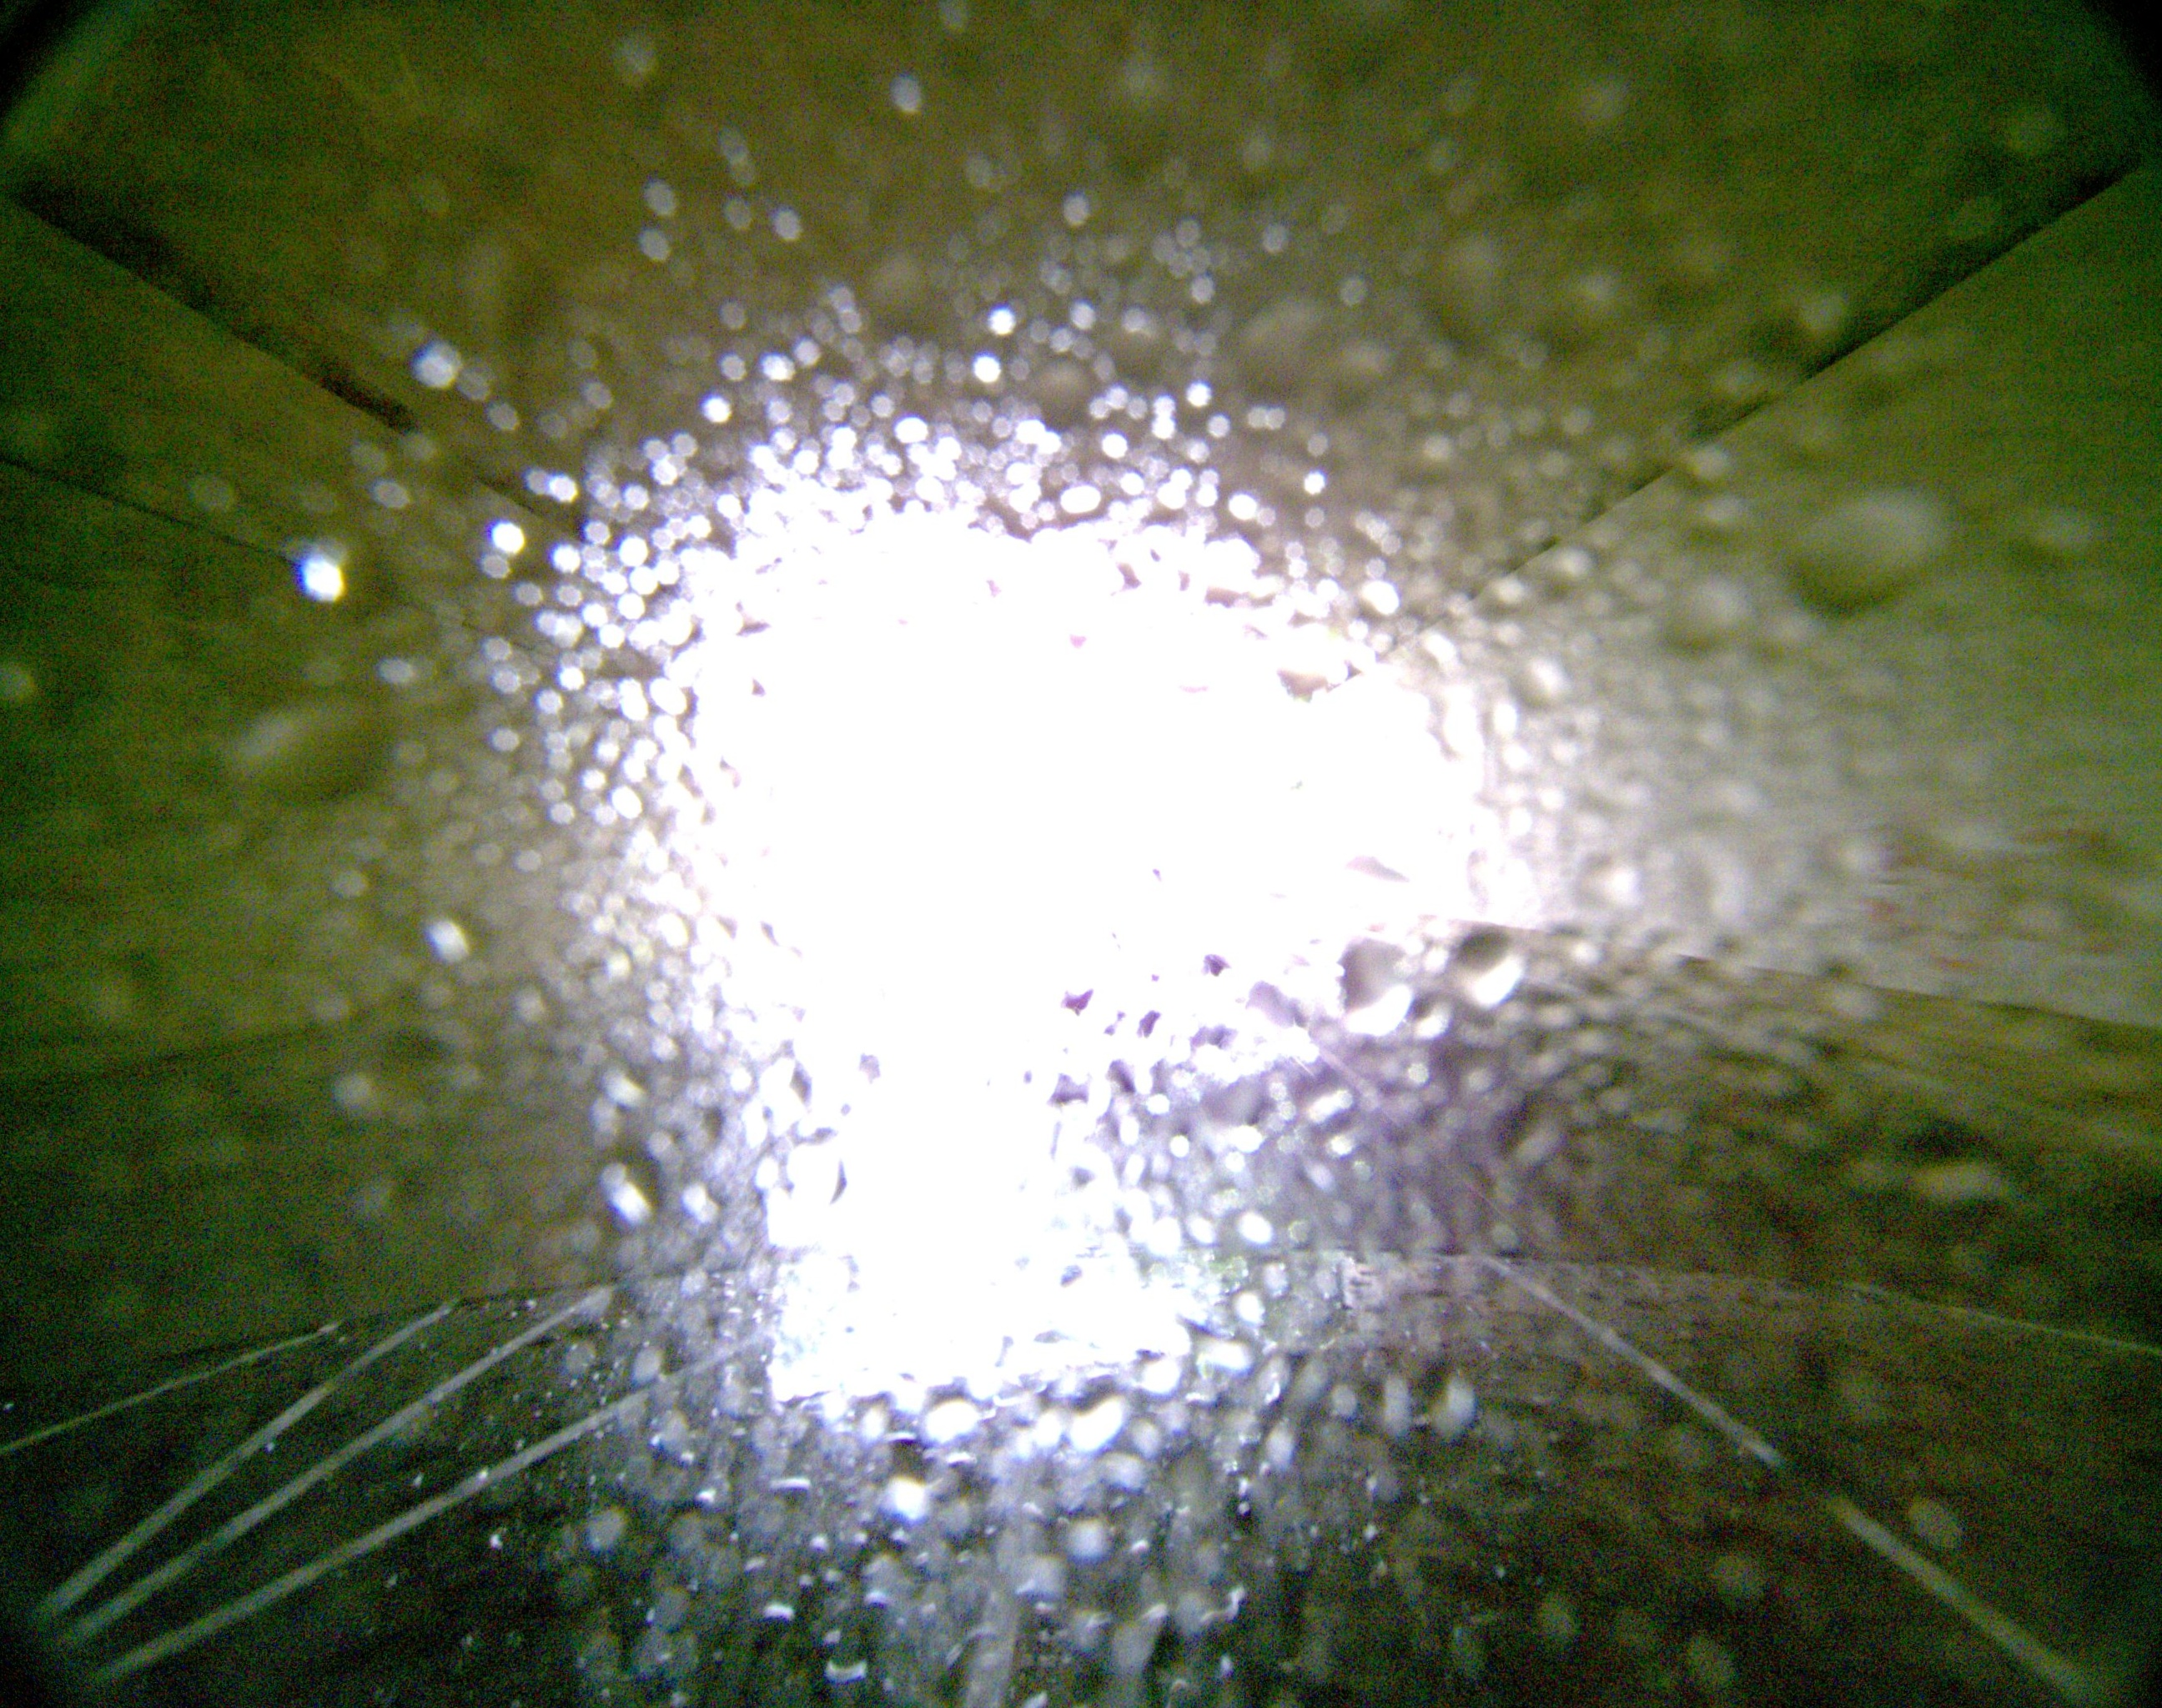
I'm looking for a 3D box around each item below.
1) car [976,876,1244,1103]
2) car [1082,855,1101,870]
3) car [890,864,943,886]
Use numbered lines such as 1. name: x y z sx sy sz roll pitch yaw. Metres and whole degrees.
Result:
1. car: 0.149 0.982 7.442 1.767 1.315 4.548 -3 0 -1
2. car: 1.102 0.896 82.176 1.695 1.478 4.071 -2 0 -3
3. car: -13.555 1.716 62.721 3.863 1.523 1.715 -3 0 -34
